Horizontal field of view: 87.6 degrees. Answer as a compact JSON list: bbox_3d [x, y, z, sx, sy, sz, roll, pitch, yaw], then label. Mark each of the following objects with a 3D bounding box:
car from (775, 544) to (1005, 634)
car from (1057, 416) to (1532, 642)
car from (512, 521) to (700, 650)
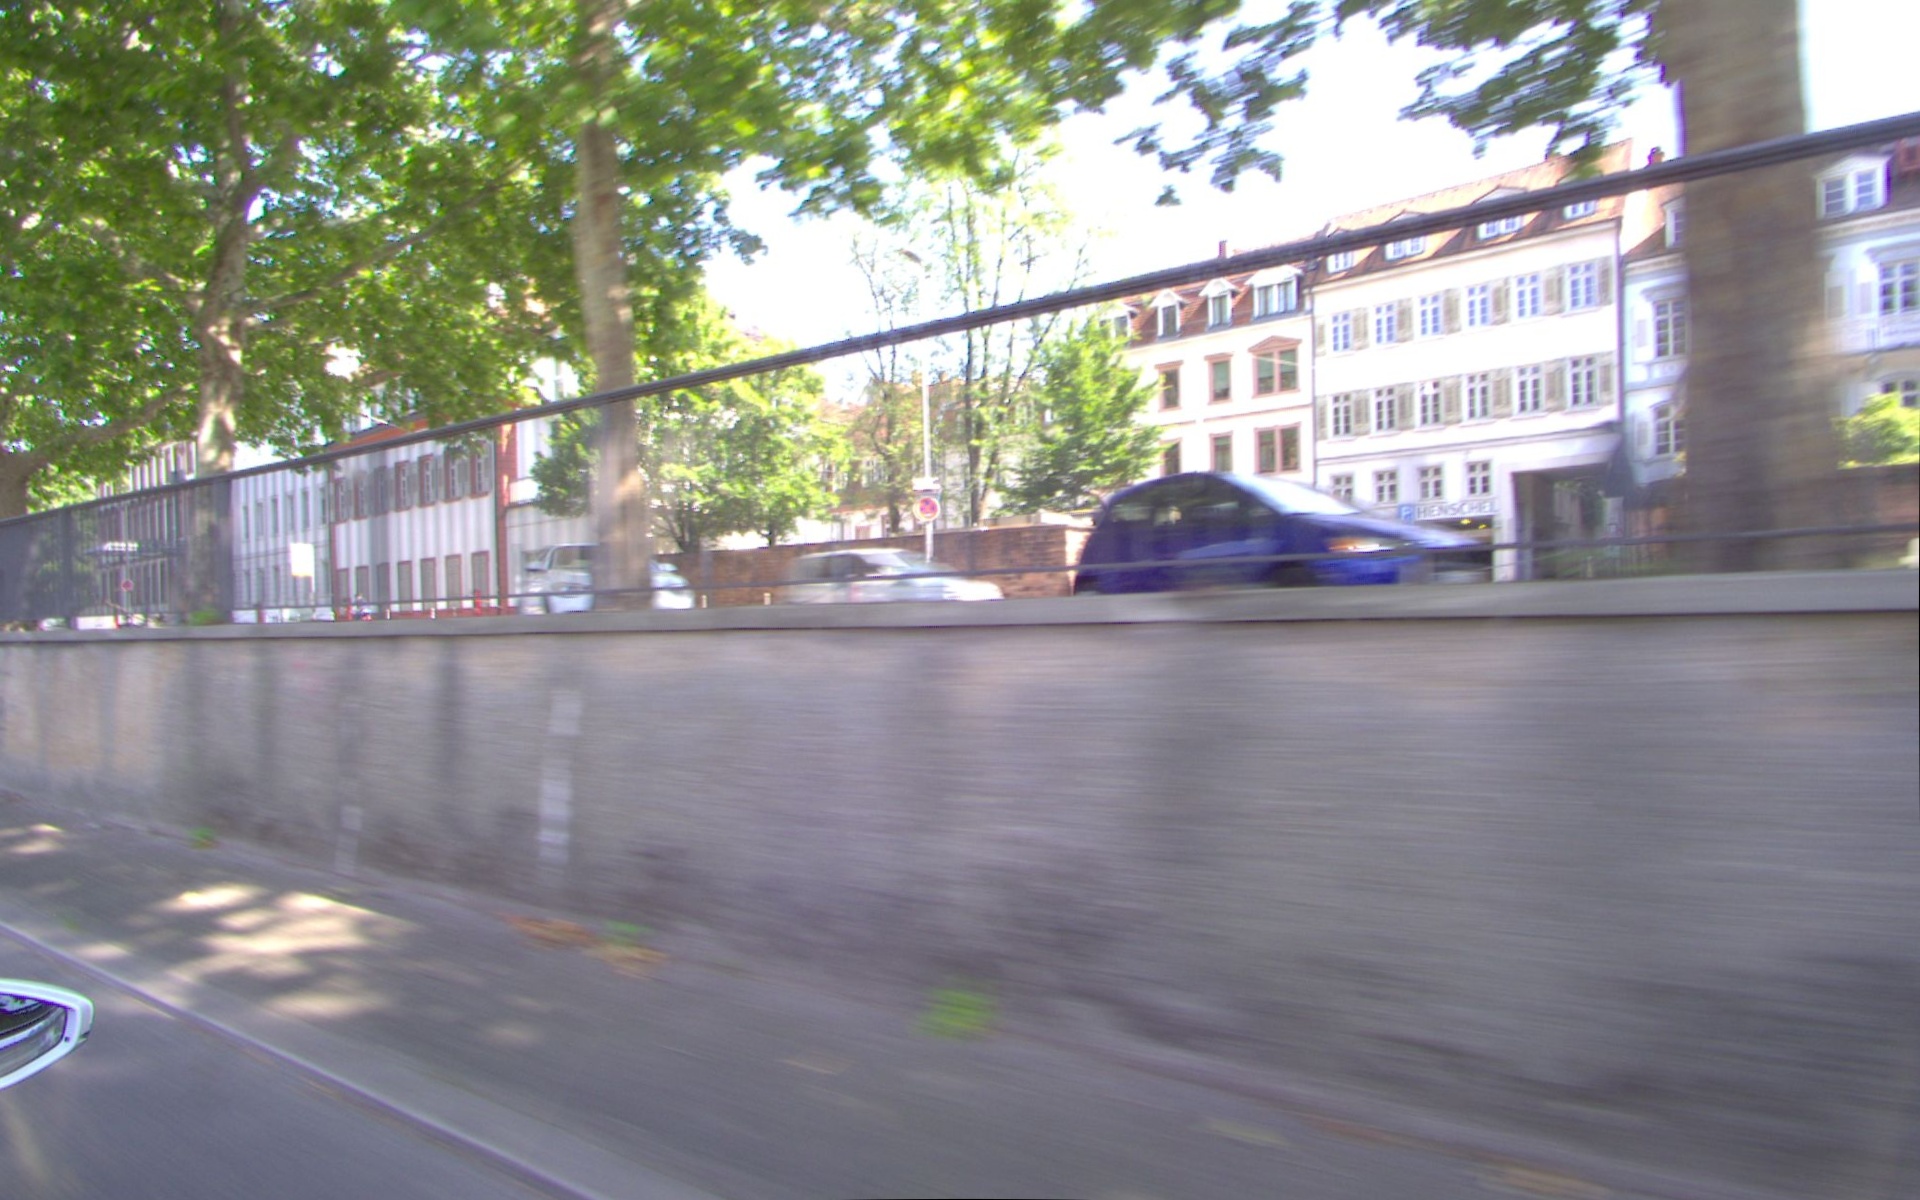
[{"bbox_3d":[-1.259,-0.185,17.773,3.666,1.447,1.868,-1,2,33],"label":"car"},{"bbox_3d":[2.661,-0.424,8.796,1.631,1.519,3.797,0,-1,-32],"label":"car"},{"bbox_3d":[-4.976,-0.111,13.746,1.755,1.488,3.980,0,-1,-30],"label":"car"}]
